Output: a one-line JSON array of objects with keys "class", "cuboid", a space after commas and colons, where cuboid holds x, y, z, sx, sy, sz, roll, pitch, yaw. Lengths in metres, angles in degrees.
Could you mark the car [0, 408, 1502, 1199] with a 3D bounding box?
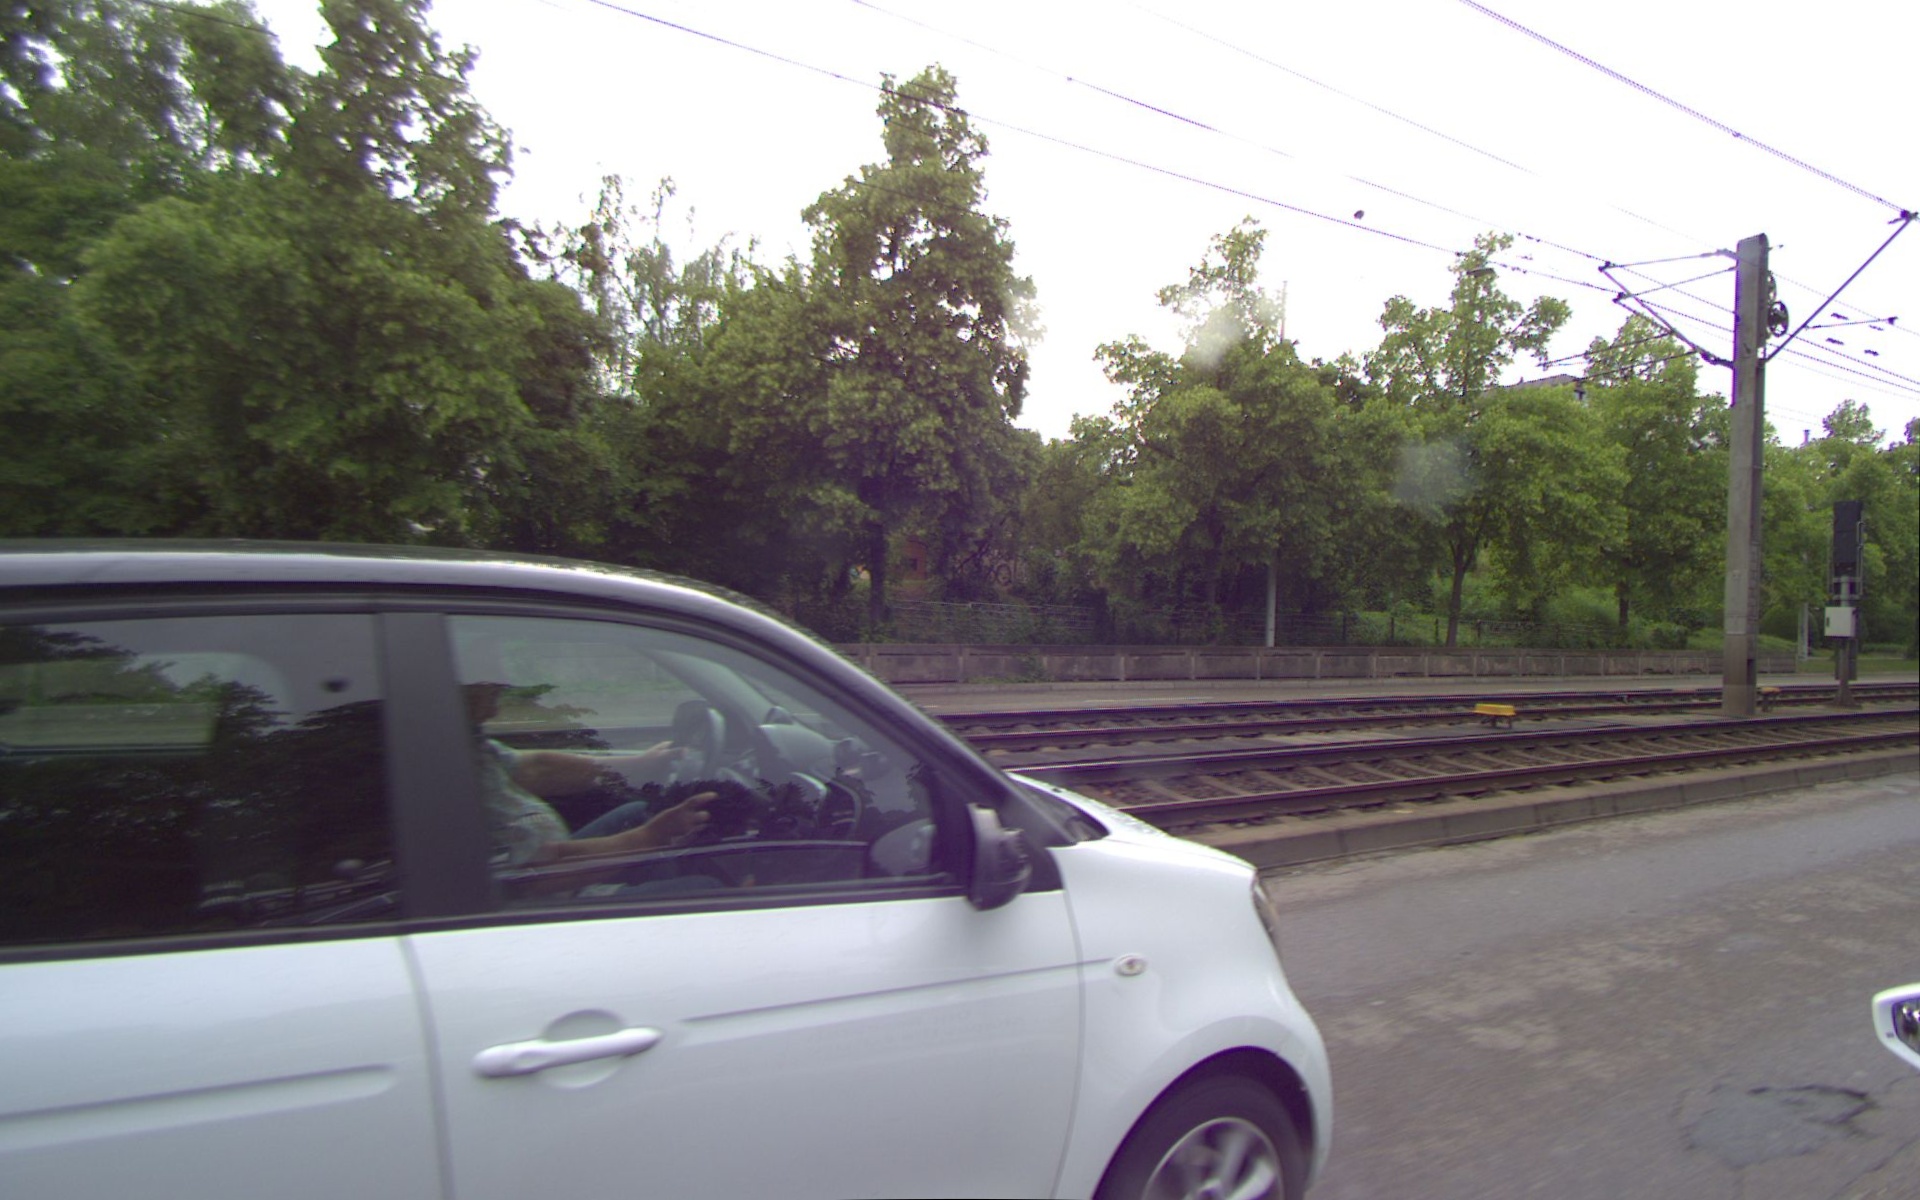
[{"class": "car", "cuboid": [-0.820, 0.609, 1.993, 3.678, 1.551, 1.668, 2, -1, -30]}]
